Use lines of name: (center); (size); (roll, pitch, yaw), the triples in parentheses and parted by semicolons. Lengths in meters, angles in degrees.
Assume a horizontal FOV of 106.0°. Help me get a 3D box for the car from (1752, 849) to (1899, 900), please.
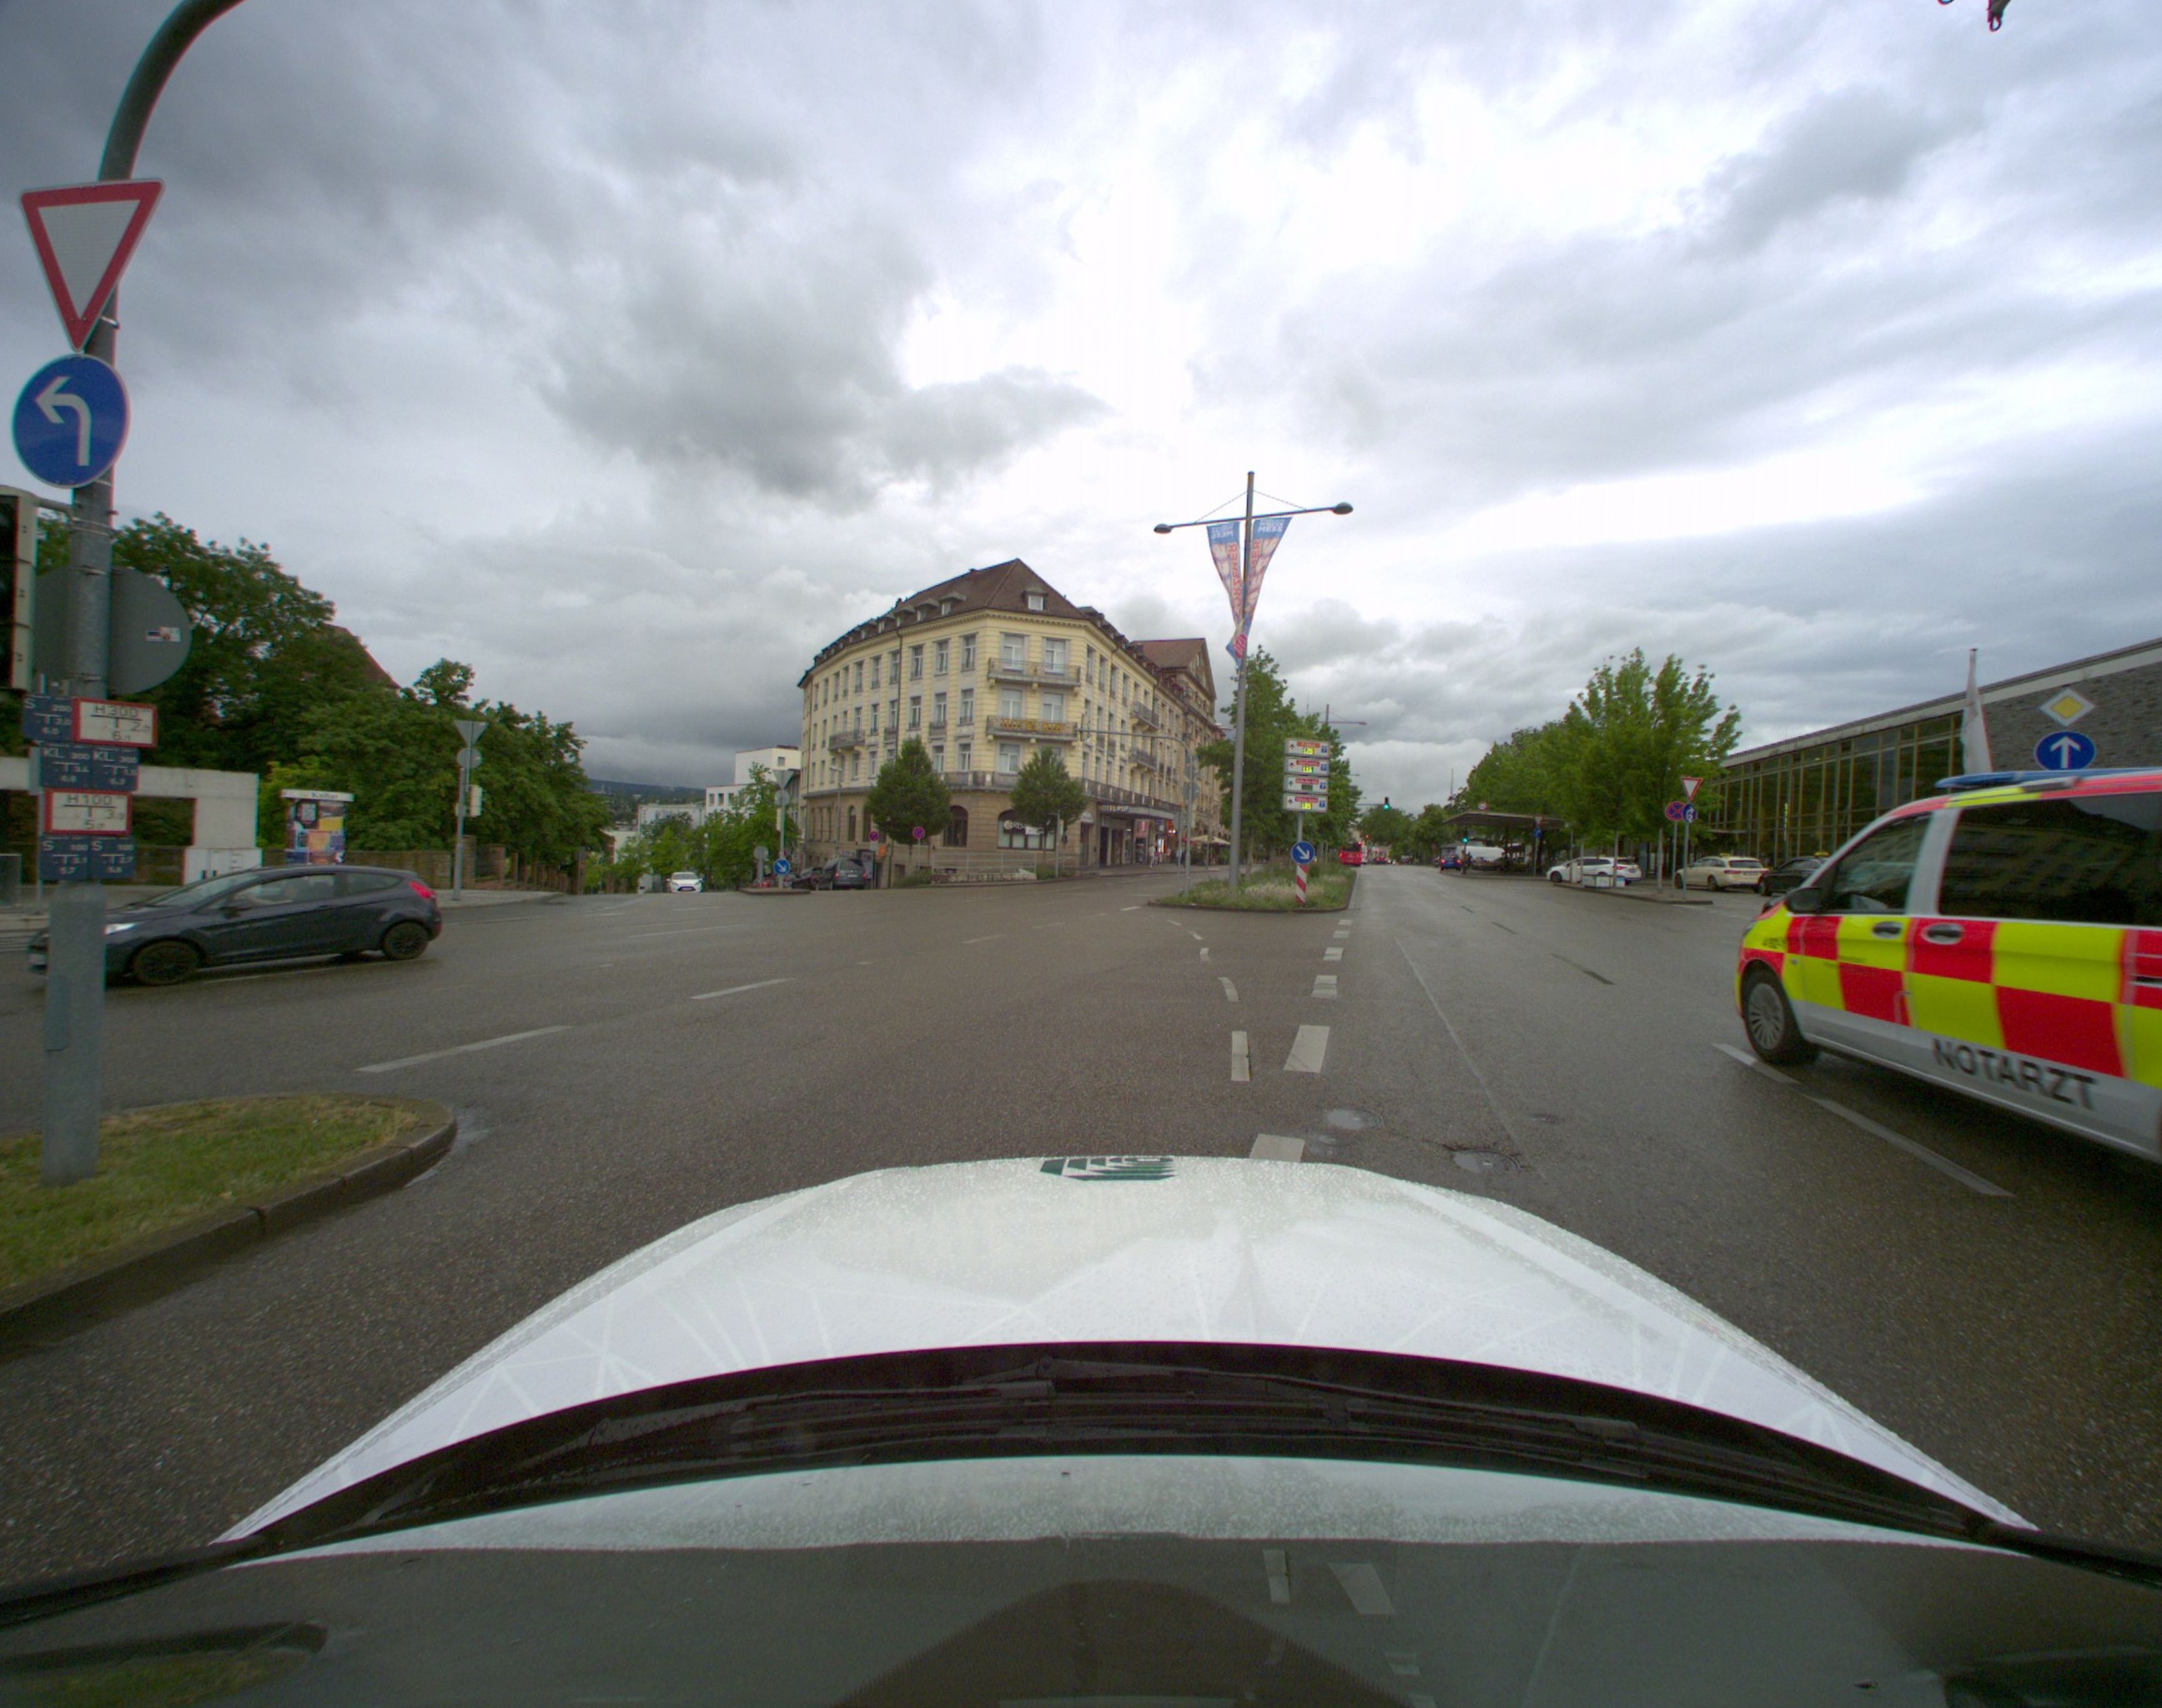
car: (26.017, 0.643, 28.728); (1.977, 1.599, 4.982); (1, 1, 18)

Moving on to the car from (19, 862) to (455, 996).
car: (-11.429, 0.885, 11.412); (1.662, 1.512, 3.884); (-1, -1, 23)

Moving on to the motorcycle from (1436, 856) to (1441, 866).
motorcycle: (47.353, 0.905, 107.963); (0.590, 1.288, 1.965); (0, 0, 25)

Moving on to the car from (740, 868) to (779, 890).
car: (-23.270, 1.806, 58.857); (1.777, 1.478, 3.967); (0, -1, -35)

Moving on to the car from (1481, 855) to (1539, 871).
car: (37.650, 0.765, 71.587); (4.172, 1.325, 1.840); (1, -1, -1)

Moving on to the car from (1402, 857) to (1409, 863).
car: (84.249, 1.445, 211.232); (1.581, 1.561, 3.668); (0, -1, 20)

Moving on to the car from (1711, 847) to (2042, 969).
car: (11.454, 0.673, 12.225); (1.681, 1.465, 4.471); (0, -1, 17)

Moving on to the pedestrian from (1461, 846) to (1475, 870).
pedestrian: (27.917, 0.298, 58.752); (0.741, 1.747, 0.839); (0, -1, 11)

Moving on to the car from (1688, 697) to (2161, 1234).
car: (5.425, 0.423, 4.233); (1.978, 2.014, 5.083); (0, -1, 16)

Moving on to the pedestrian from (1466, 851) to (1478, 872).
pedestrian: (34.806, 0.696, 72.432); (0.849, 1.835, 1.196); (0, -1, 19)

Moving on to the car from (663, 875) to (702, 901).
car: (-23.599, 1.965, 48.166); (1.641, 1.398, 3.959); (0, -1, -32)

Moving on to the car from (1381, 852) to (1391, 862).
car: (65.570, 0.631, 174.970); (1.977, 2.014, 4.020); (-1, -1, 20)

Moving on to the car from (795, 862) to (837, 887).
car: (-16.313, 1.216, 49.967); (1.640, 1.398, 3.961); (0, 0, -30)

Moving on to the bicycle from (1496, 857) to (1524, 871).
bicycle: (32.582, 0.781, 61.855); (1.820, 1.056, 0.420); (0, -1, 1)

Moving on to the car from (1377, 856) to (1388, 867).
car: (59.403, 1.474, 160.699); (1.977, 2.014, 4.020); (-1, -1, 20)

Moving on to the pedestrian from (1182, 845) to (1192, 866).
pedestrian: (8.561, 0.131, 65.873); (0.676, 1.664, 0.811); (-1, -1, 20)

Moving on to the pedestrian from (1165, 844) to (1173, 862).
pedestrian: (8.008, -0.070, 73.913); (0.662, 1.664, 0.538); (0, -1, 11)

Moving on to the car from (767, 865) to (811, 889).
car: (-19.436, 1.505, 54.065); (1.777, 1.478, 3.957); (0, -1, -35)

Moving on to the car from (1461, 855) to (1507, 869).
car: (42.236, 0.849, 85.327); (3.983, 1.443, 1.860); (1, -1, -7)

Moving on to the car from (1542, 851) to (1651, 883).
car: (26.684, 0.653, 42.391); (1.764, 1.546, 4.745); (1, 0, -20)

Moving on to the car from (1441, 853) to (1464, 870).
car: (34.619, 0.712, 75.977); (1.842, 1.569, 4.022); (1, -1, 23)

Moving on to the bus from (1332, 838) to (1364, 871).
bus: (33.707, 0.129, 102.702); (3.516, 3.979, 11.224); (0, -1, 19)

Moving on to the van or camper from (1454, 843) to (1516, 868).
van or camper: (45.016, 0.156, 90.803); (5.942, 2.763, 2.193); (0, -1, -8)

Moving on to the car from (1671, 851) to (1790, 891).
car: (27.717, 0.679, 34.992); (1.980, 1.599, 4.974); (0, 0, 12)

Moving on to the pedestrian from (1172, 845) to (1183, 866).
pedestrian: (7.865, 0.117, 66.172); (0.675, 1.664, 0.811); (-1, -1, 22)

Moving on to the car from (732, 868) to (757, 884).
car: (-31.949, 2.094, 77.371); (1.775, 1.478, 3.963); (0, -1, -29)

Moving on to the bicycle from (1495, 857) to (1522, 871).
bicycle: (32.699, 0.784, 62.314); (1.820, 1.056, 0.420); (0, -1, 1)

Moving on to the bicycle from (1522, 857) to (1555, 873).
bicycle: (30.134, 0.748, 53.630); (1.812, 1.056, 0.422); (0, -1, 19)

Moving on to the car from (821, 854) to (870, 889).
car: (-12.885, 0.919, 44.416); (1.640, 1.759, 3.962); (0, 0, -30)

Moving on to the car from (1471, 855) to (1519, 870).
car: (42.182, 0.832, 83.003); (3.983, 1.443, 1.860); (1, -1, -7)

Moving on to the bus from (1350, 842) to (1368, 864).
bus: (49.098, -0.180, 143.858); (2.783, 3.747, 10.493); (0, 0, 18)

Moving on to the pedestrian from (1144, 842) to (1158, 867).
pedestrian: (5.254, 0.047, 60.829); (0.872, 1.813, 0.754); (-1, -1, 19)
